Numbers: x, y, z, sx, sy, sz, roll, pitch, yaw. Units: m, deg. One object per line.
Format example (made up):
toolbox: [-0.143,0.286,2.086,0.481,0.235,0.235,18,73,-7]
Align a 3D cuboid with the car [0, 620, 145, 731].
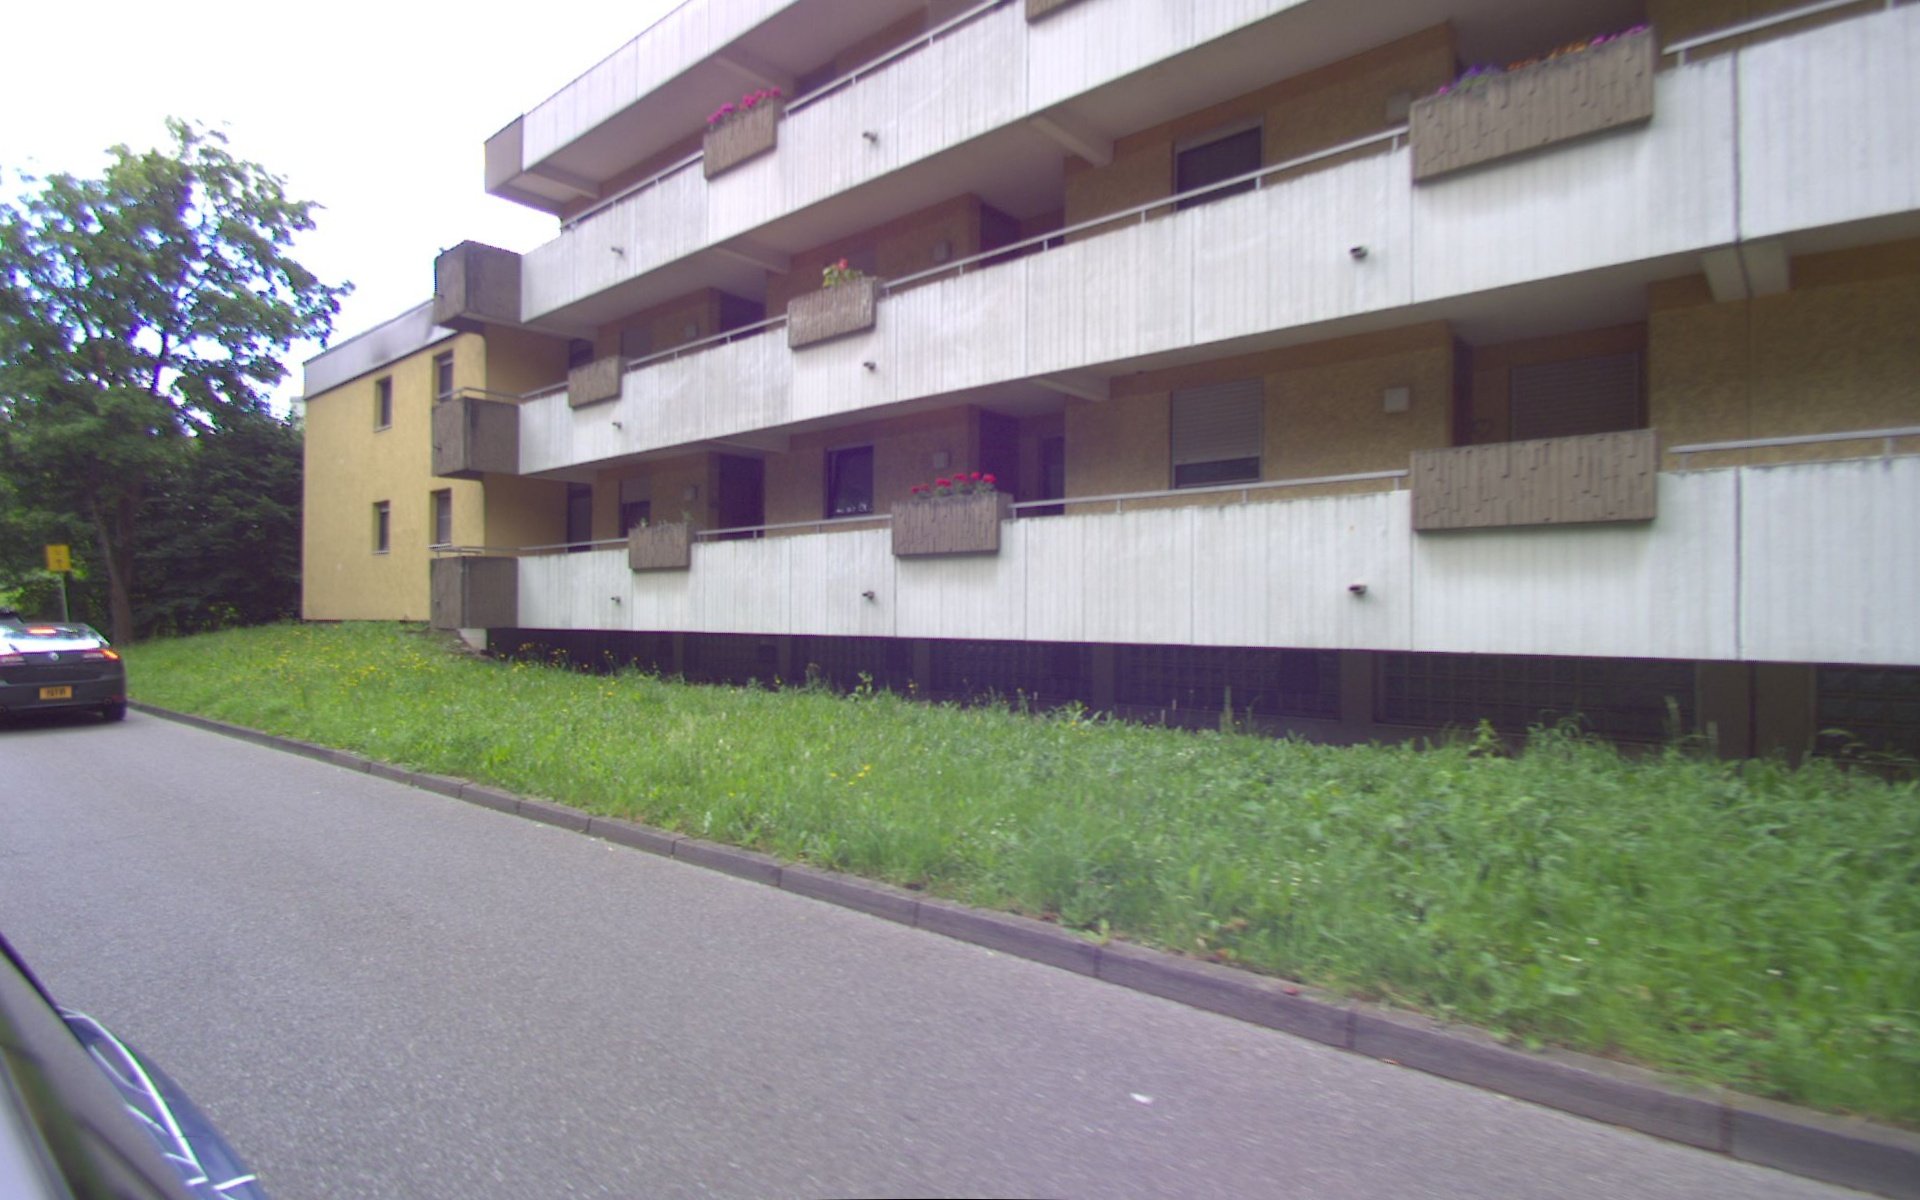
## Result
car: [-13.818,1.023,15.046,4.421,1.422,1.893,-1,-1,41]

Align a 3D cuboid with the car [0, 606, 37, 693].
car: [-21.380,1.035,21.638,5.056,1.730,1.893,-1,-1,41]
